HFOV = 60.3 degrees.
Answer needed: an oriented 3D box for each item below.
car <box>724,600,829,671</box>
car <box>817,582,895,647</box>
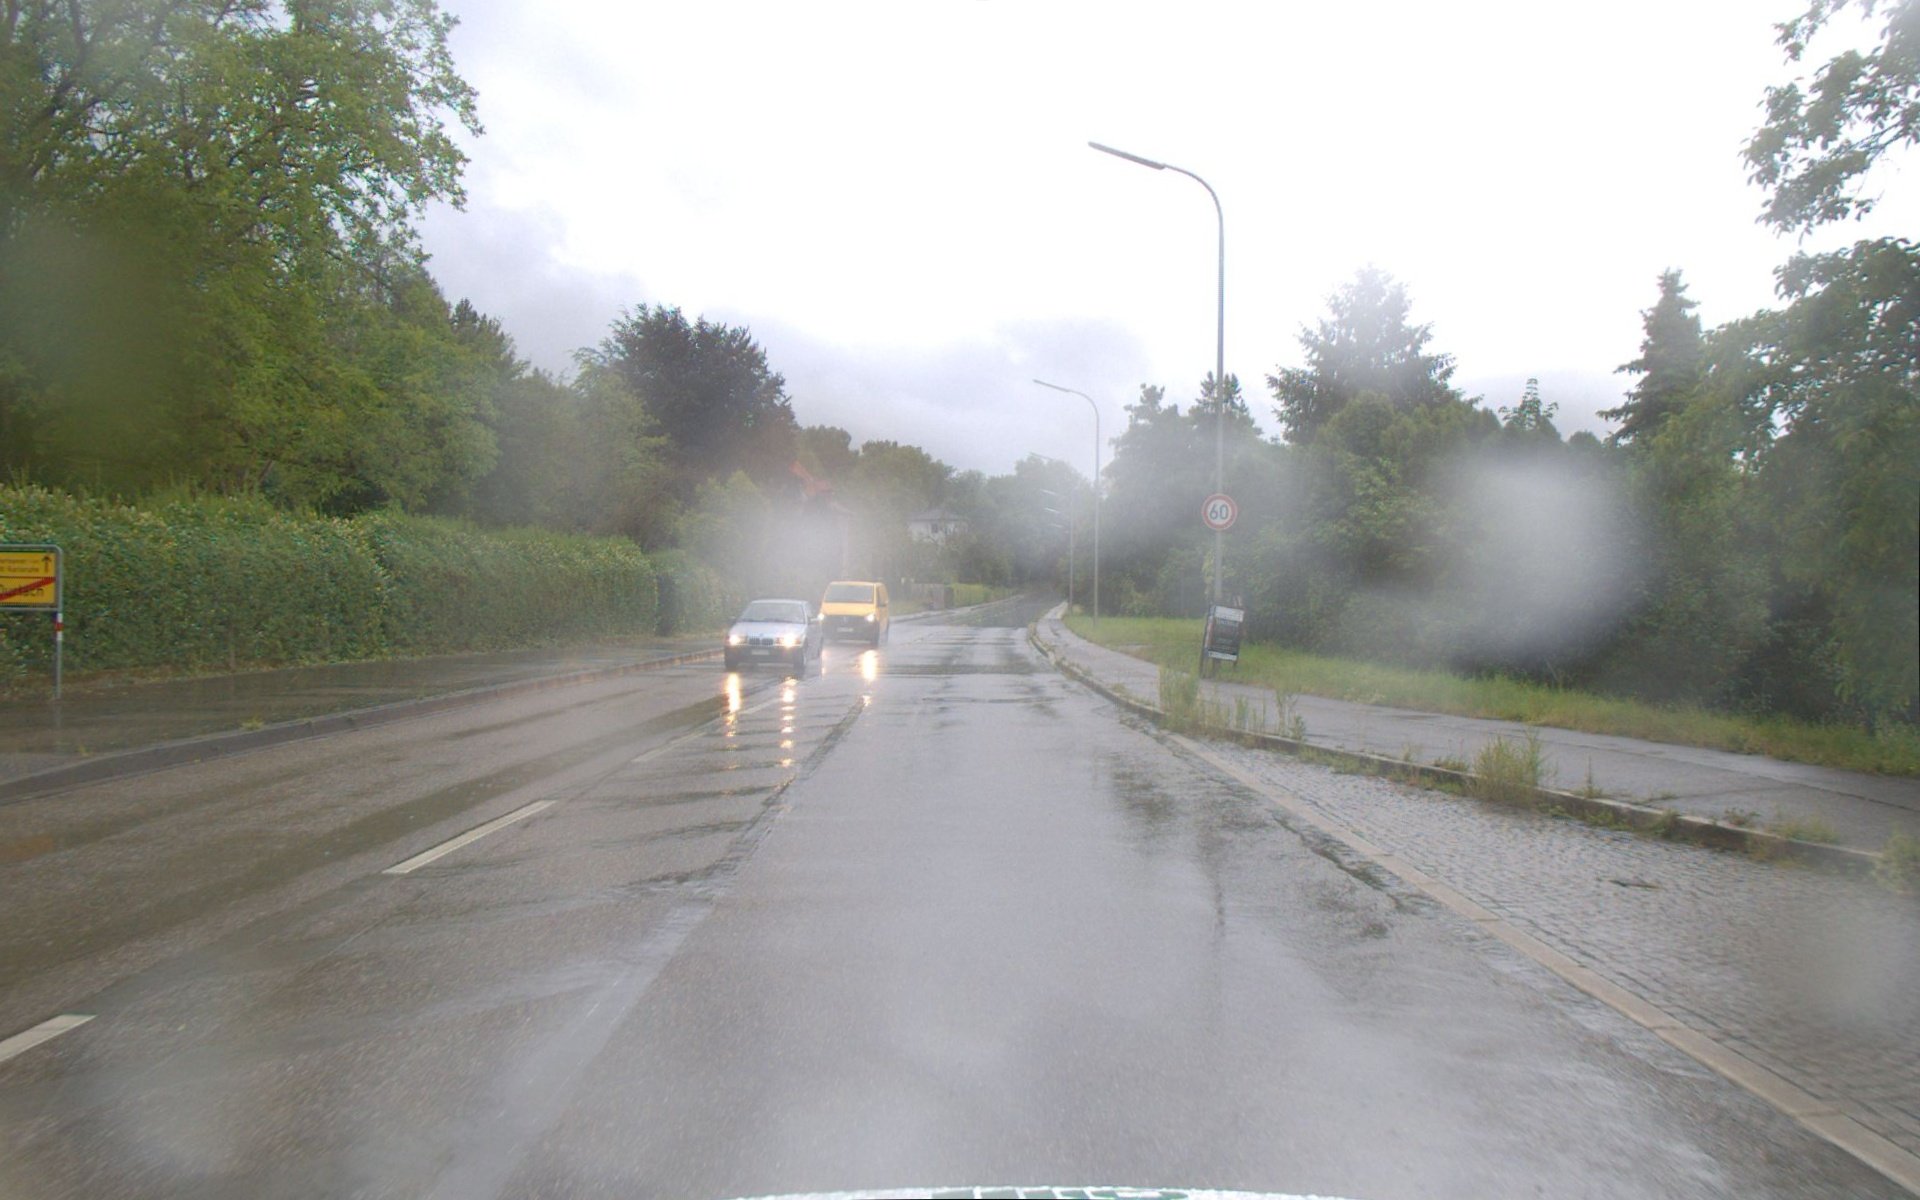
[{"bbox_3d":[-3.726,0.696,34.155,1.666,1.373,3.905,0,0,1],"label":"car"},{"bbox_3d":[-3.158,0.441,51.274,1.897,1.904,5.037,0,0,2],"label":"car"}]
